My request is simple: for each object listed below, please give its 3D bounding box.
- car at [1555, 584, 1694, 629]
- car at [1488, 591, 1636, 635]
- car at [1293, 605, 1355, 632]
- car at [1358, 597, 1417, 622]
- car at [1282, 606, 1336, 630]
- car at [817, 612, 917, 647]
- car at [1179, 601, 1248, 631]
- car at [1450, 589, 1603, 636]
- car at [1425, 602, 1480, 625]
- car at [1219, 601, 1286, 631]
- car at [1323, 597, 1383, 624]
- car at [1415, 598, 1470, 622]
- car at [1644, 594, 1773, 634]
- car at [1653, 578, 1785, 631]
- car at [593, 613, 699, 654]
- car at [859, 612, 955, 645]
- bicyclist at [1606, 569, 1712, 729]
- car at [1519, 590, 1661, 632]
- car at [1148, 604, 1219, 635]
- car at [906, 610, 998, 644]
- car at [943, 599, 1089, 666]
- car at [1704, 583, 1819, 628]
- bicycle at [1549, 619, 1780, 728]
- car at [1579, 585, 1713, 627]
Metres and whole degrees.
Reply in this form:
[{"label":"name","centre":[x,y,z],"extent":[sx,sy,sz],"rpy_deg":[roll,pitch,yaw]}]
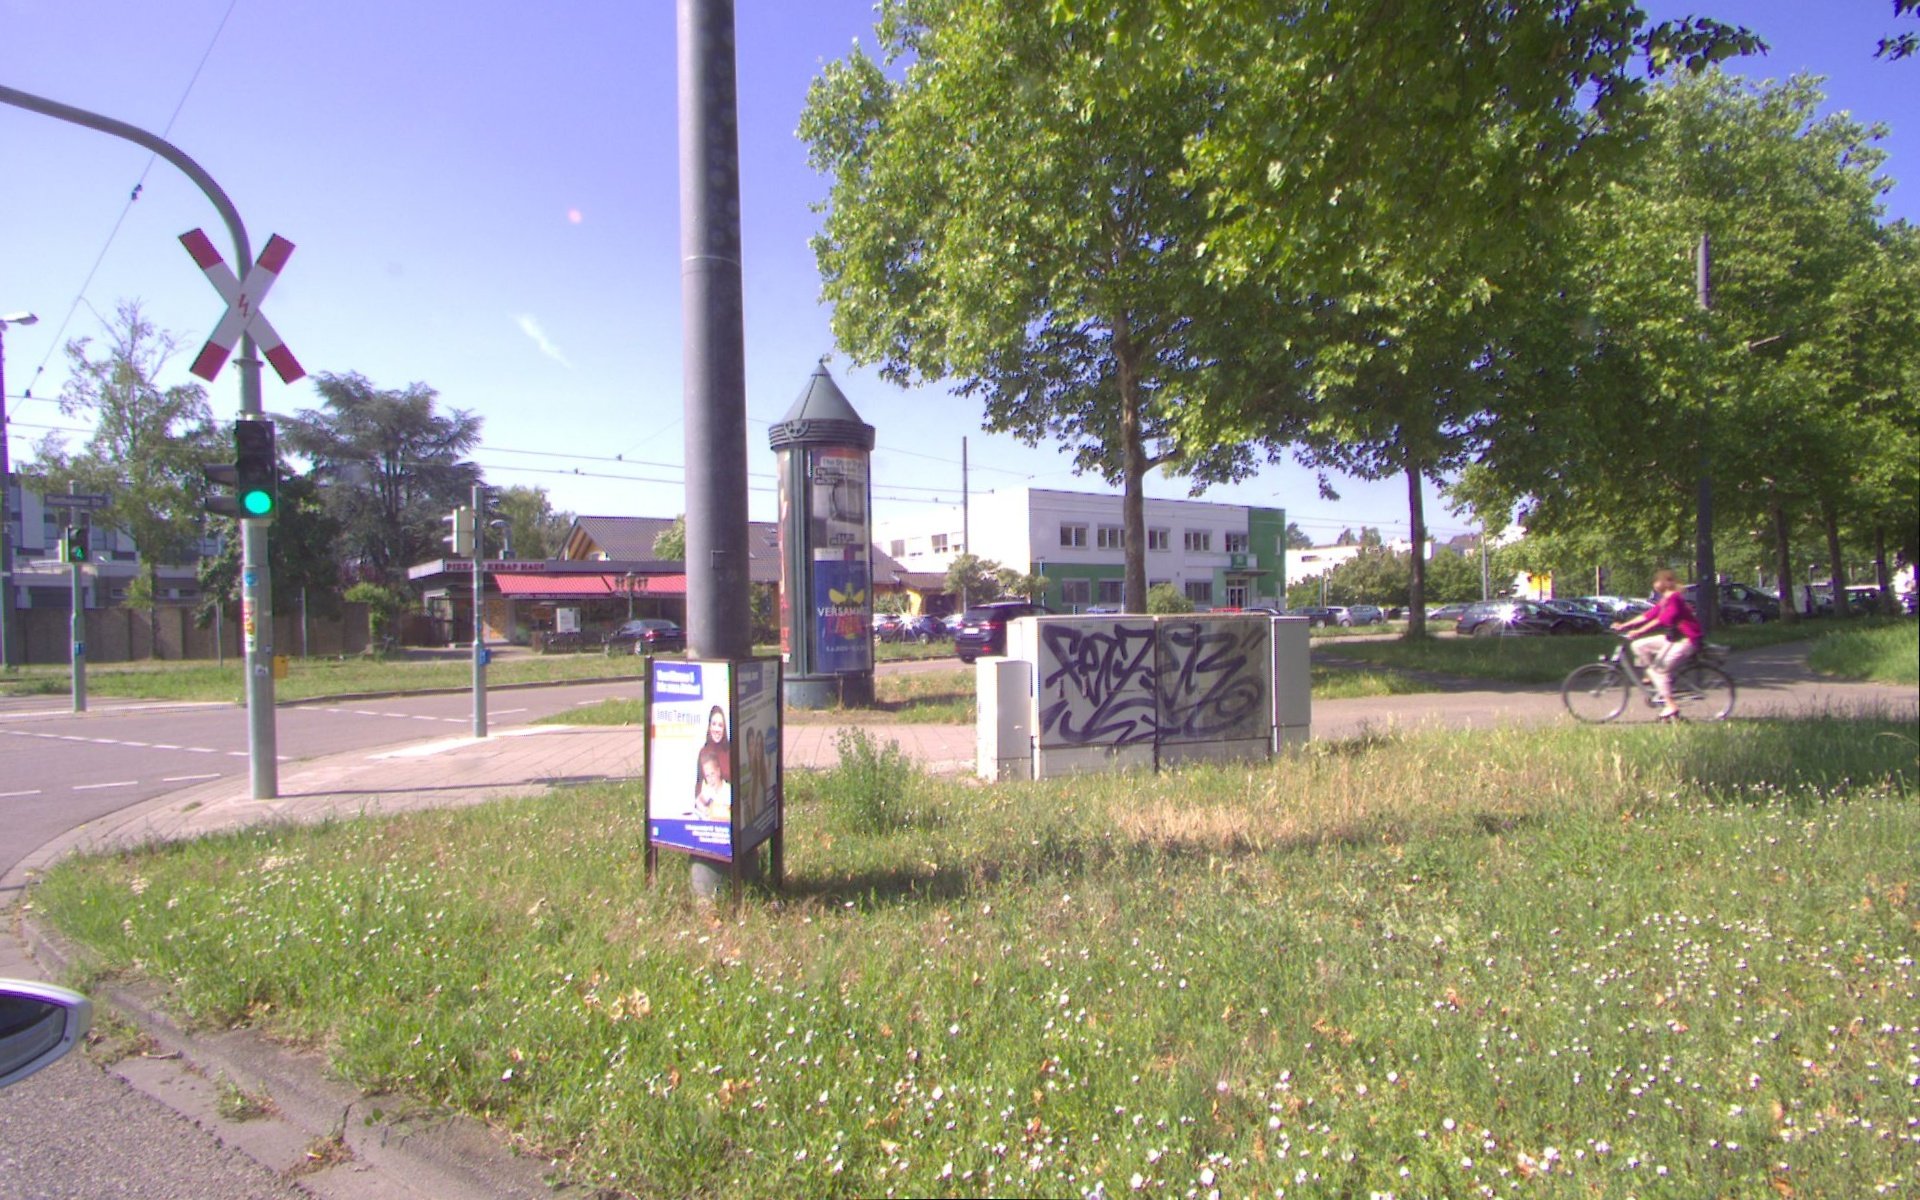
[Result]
[{"label":"car","centre":[26.264,0.307,39.645],"extent":[4.309,1.654,1.982],"rpy_deg":[-1,-2,44]},{"label":"car","centre":[21.921,0.469,36.542],"extent":[4.309,1.510,1.982],"rpy_deg":[-1,0,44]},{"label":"car","centre":[25.676,1.319,70.609],"extent":[3.934,1.816,1.995],"rpy_deg":[-1,-2,24]},{"label":"car","centre":[31.609,0.727,74.143],"extent":[3.934,1.816,1.995],"rpy_deg":[-1,-2,24]},{"label":"car","centre":[23.684,1.215,67.965],"extent":[3.383,1.556,1.565],"rpy_deg":[-1,0,18]},{"label":"car","centre":[-4.343,1.383,46.696],"extent":[4.139,1.518,2.136],"rpy_deg":[-2,-1,26]},{"label":"car","centre":[16.019,1.035,63.183],"extent":[3.934,1.816,1.995],"rpy_deg":[-1,-2,24]},{"label":"car","centre":[19.758,0.448,35.018],"extent":[4.310,1.510,1.982],"rpy_deg":[-2,-1,44]},{"label":"car","centre":[40.856,1.171,83.139],"extent":[3.934,1.816,1.995],"rpy_deg":[-1,-2,24]},{"label":"car","centre":[18.872,1.051,64.583],"extent":[3.934,1.816,1.995],"rpy_deg":[-1,-2,24]},{"label":"car","centre":[28.262,0.794,72.044],"extent":[3.934,1.816,1.995],"rpy_deg":[-1,-2,24]},{"label":"car","centre":[38.893,0.847,80.797],"extent":[3.934,1.816,1.995],"rpy_deg":[-1,-2,24]},{"label":"car","centre":[32.656,0.620,43.753],"extent":[4.309,1.654,1.982],"rpy_deg":[-1,0,44]},{"label":"car","centre":[35.049,0.242,46.329],"extent":[1.978,2.320,4.550],"rpy_deg":[-1,0,-41]},{"label":"car","centre":[-12.809,1.384,40.659],"extent":[2.121,1.518,5.073],"rpy_deg":[-1,-2,-43]},{"label":"car","centre":[-2.561,1.380,48.600],"extent":[4.139,1.518,2.136],"rpy_deg":[-2,-1,26]},{"label":"bicyclist","centre":[8.154,0.563,11.707],"extent":[0.795,1.810,0.702],"rpy_deg":[-1,0,14]},{"label":"car","centre":[24.024,0.439,38.275],"extent":[4.309,1.510,1.982],"rpy_deg":[-1,0,44]},{"label":"car","centre":[13.711,1.210,61.465],"extent":[3.934,1.816,1.995],"rpy_deg":[-1,-2,24]},{"label":"car","centre":[-0.416,1.371,50.674],"extent":[4.139,1.640,2.136],"rpy_deg":[-1,-1,26]},{"label":"car","centre":[1.568,0.865,27.217],"extent":[3.962,1.676,1.776],"rpy_deg":[1,-1,-44]},{"label":"car","centre":[41.677,0.329,52.136],"extent":[4.542,2.238,1.982],"rpy_deg":[-1,0,44]},{"label":"bicycle","centre":[8.168,0.843,11.706],"extent":[2.086,1.201,0.692],"rpy_deg":[-1,0,14]},{"label":"car","centre":[28.222,0.275,41.258],"extent":[4.309,1.654,1.982],"rpy_deg":[-1,0,44]}]
